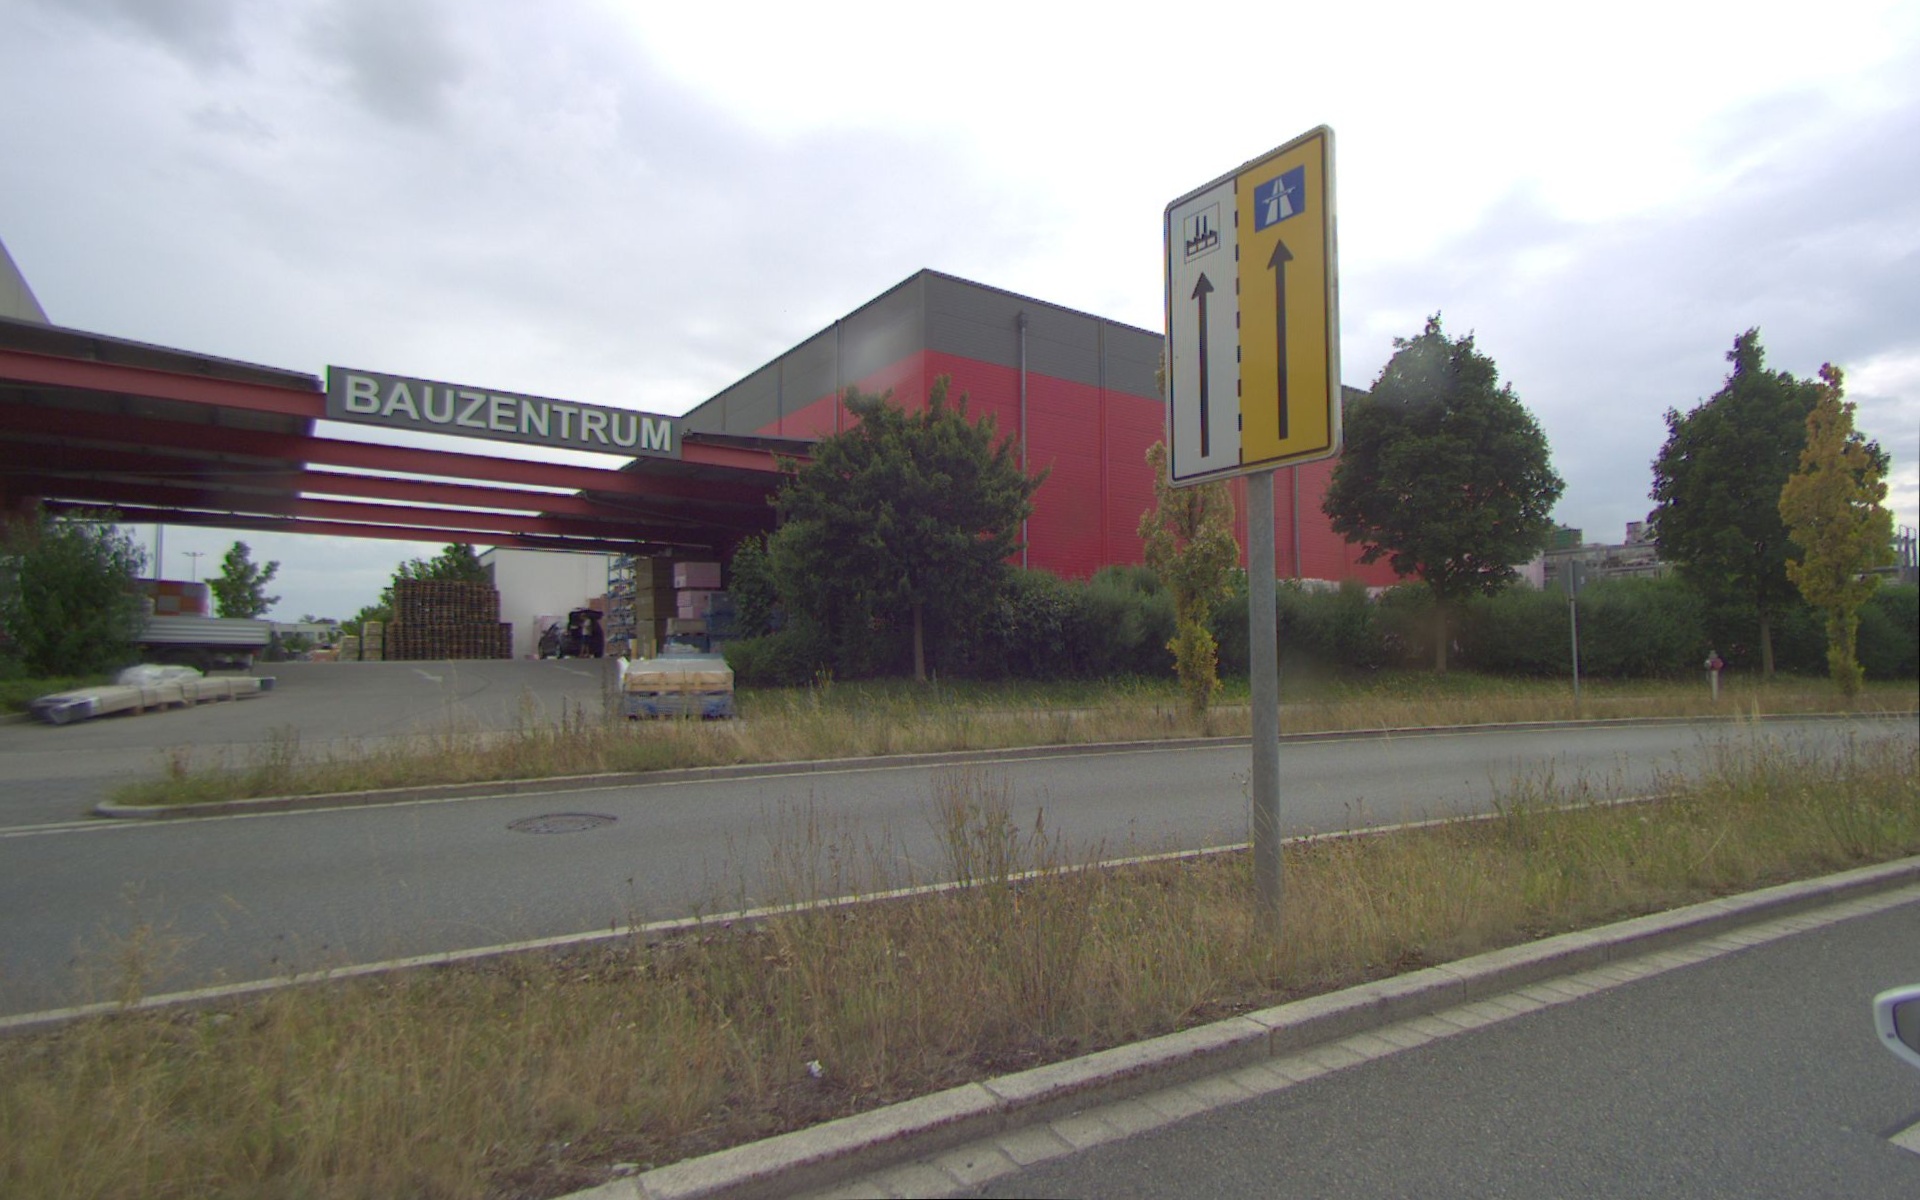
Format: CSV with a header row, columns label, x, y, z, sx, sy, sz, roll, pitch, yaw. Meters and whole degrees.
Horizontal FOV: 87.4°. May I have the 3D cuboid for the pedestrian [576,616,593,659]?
label,x,y,z,sx,sy,sz,roll,pitch,yaw
pedestrian,-15.698,1.581,42.014,0.557,1.776,0.478,2,-2,-33

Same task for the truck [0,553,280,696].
label,x,y,z,sx,sy,sz,roll,pitch,yaw
truck,-16.625,0.493,19.249,5.852,2.520,2.019,2,-3,-36

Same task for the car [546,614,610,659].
label,x,y,z,sx,sy,sz,roll,pitch,yaw
car,-16.921,1.610,44.396,1.792,1.872,3.964,2,-3,-33
